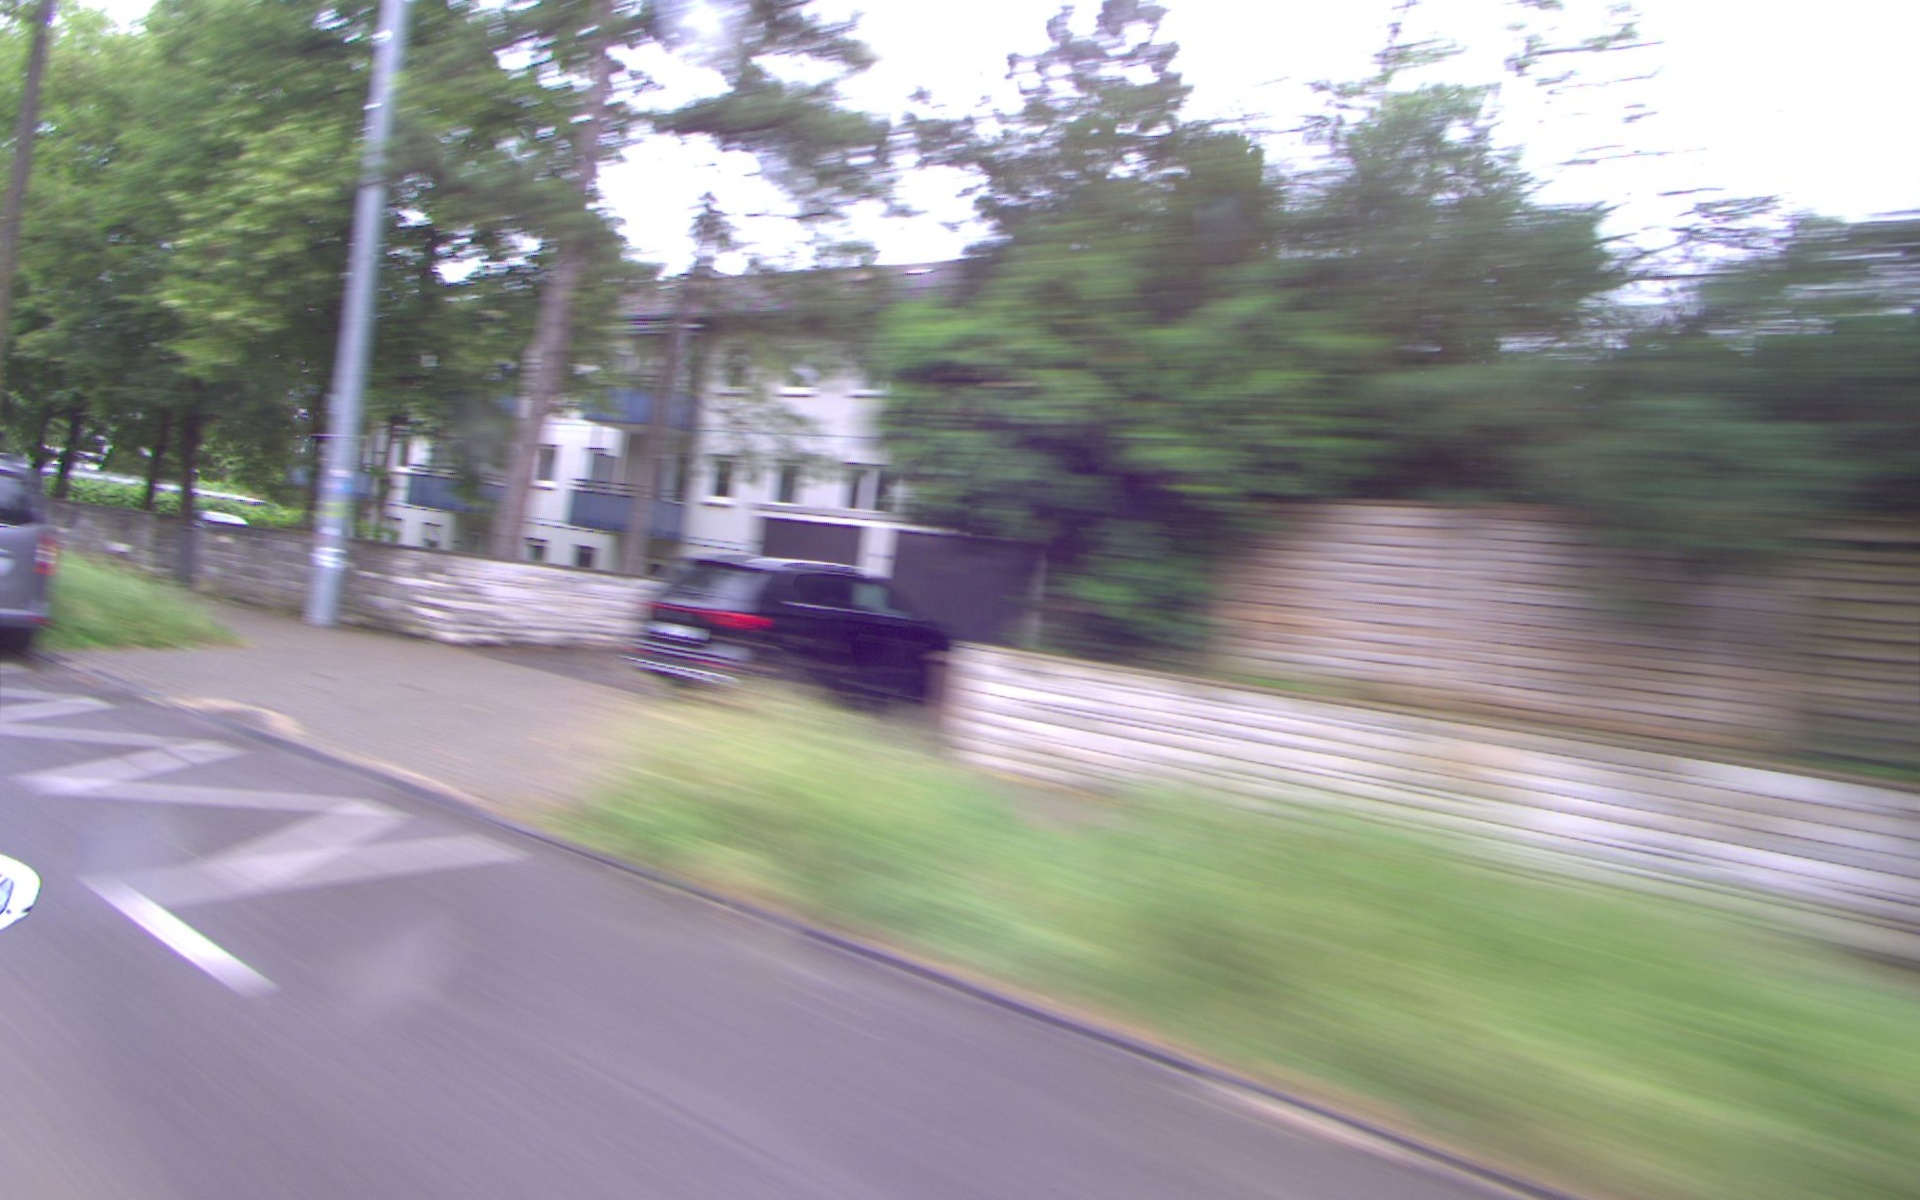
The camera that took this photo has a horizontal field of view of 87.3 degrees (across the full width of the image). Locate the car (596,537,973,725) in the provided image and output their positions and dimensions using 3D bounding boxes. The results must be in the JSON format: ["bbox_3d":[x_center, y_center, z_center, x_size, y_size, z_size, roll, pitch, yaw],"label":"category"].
[{"bbox_3d":[-1.862,0.337,12.013,1.967,1.704,4.310,6,2,32],"label":"car"}]

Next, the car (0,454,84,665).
[{"bbox_3d":[-10.456,-0.640,9.544,4.210,1.834,1.819,8,-1,30],"label":"car"}]
